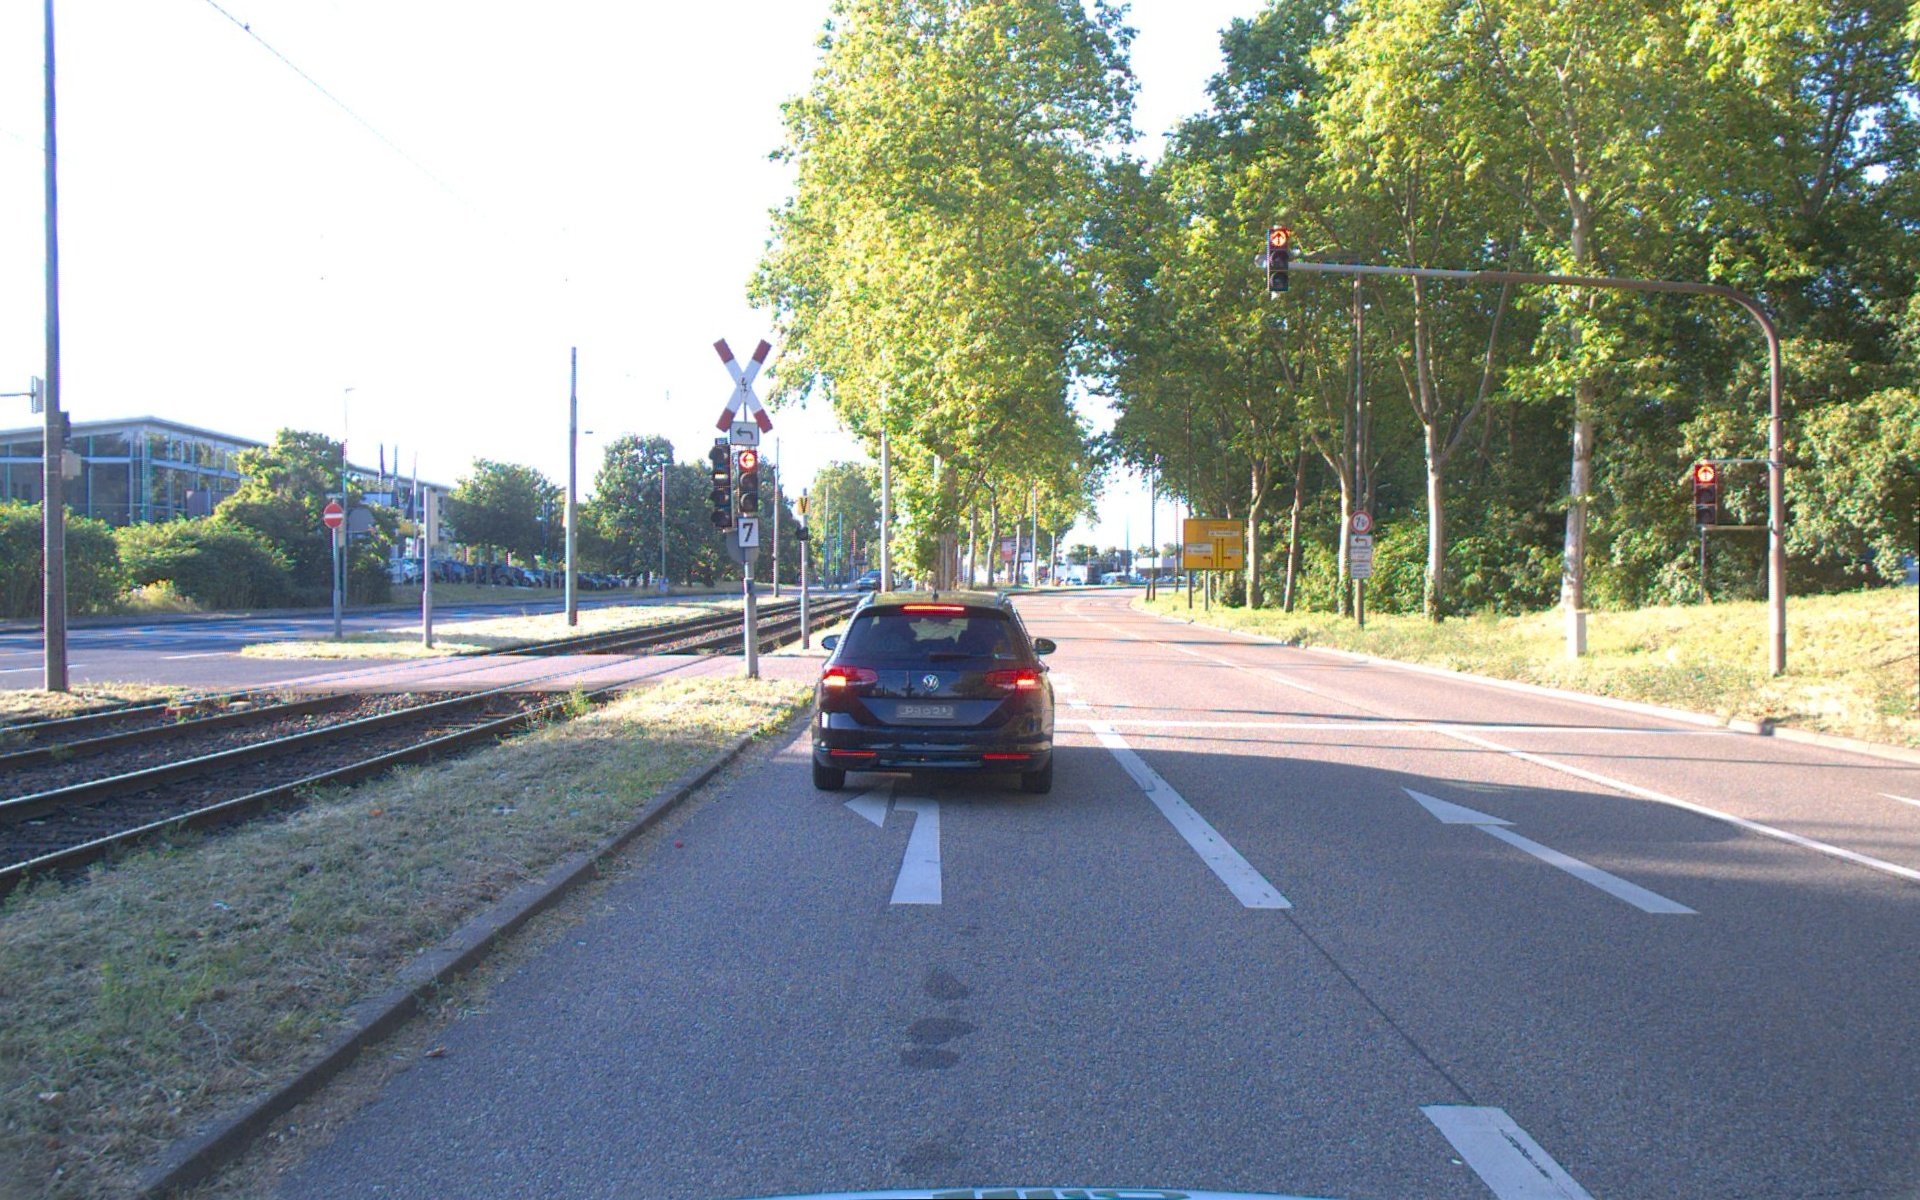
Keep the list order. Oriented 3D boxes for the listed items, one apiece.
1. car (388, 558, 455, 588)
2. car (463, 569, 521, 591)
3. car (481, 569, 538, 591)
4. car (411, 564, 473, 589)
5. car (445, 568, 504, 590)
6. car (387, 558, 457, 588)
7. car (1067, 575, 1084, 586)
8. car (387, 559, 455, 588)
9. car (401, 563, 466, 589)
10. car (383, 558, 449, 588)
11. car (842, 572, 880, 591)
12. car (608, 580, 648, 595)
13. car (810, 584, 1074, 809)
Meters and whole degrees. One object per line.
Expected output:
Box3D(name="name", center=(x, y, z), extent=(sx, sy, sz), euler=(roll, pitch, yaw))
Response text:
Box3D(name="car", center=(-33.878, -1.689, 104.048), extent=(3.930, 1.848, 1.733), euler=(1, 0, -21))
Box3D(name="car", center=(-35.090, -1.507, 124.103), extent=(3.910, 1.583, 1.741), euler=(1, 0, -7))
Box3D(name="car", center=(-34.857, -1.513, 128.033), extent=(3.909, 1.649, 1.742), euler=(1, 0, -5))
Box3D(name="car", center=(-34.933, -1.564, 111.488), extent=(3.930, 1.583, 1.733), euler=(1, 0, -21))
Box3D(name="car", center=(-35.372, -1.527, 120.581), extent=(3.913, 1.583, 1.740), euler=(1, 0, -9))
Box3D(name="car", center=(-32.376, -1.592, 99.474), extent=(3.930, 1.734, 1.733), euler=(1, 0, -21))
Box3D(name="car", center=(16.621, -2.770, 238.307), extent=(1.825, 1.507, 4.088), euler=(1, 0, -4))
Box3D(name="car", center=(-33.144, -1.613, 101.718), extent=(3.930, 1.734, 1.733), euler=(1, 0, -21))
Box3D(name="car", center=(-34.609, -1.575, 108.706), extent=(3.930, 1.583, 1.733), euler=(1, 0, -21))
Box3D(name="car", center=(-34.794, -1.728, 105.864), extent=(3.930, 1.848, 1.733), euler=(1, 0, -21))
Box3D(name="car", center=(-8.374, -1.567, 140.466), extent=(1.823, 1.507, 4.174), euler=(1, 1, 18))
Box3D(name="car", center=(-34.962, -1.298, 174.221), extent=(3.908, 1.583, 1.742), euler=(1, 0, -4))
Box3D(name="car", center=(-0.145, 0.637, 12.939), extent=(1.758, 1.490, 3.582), euler=(1, 0, -1))
